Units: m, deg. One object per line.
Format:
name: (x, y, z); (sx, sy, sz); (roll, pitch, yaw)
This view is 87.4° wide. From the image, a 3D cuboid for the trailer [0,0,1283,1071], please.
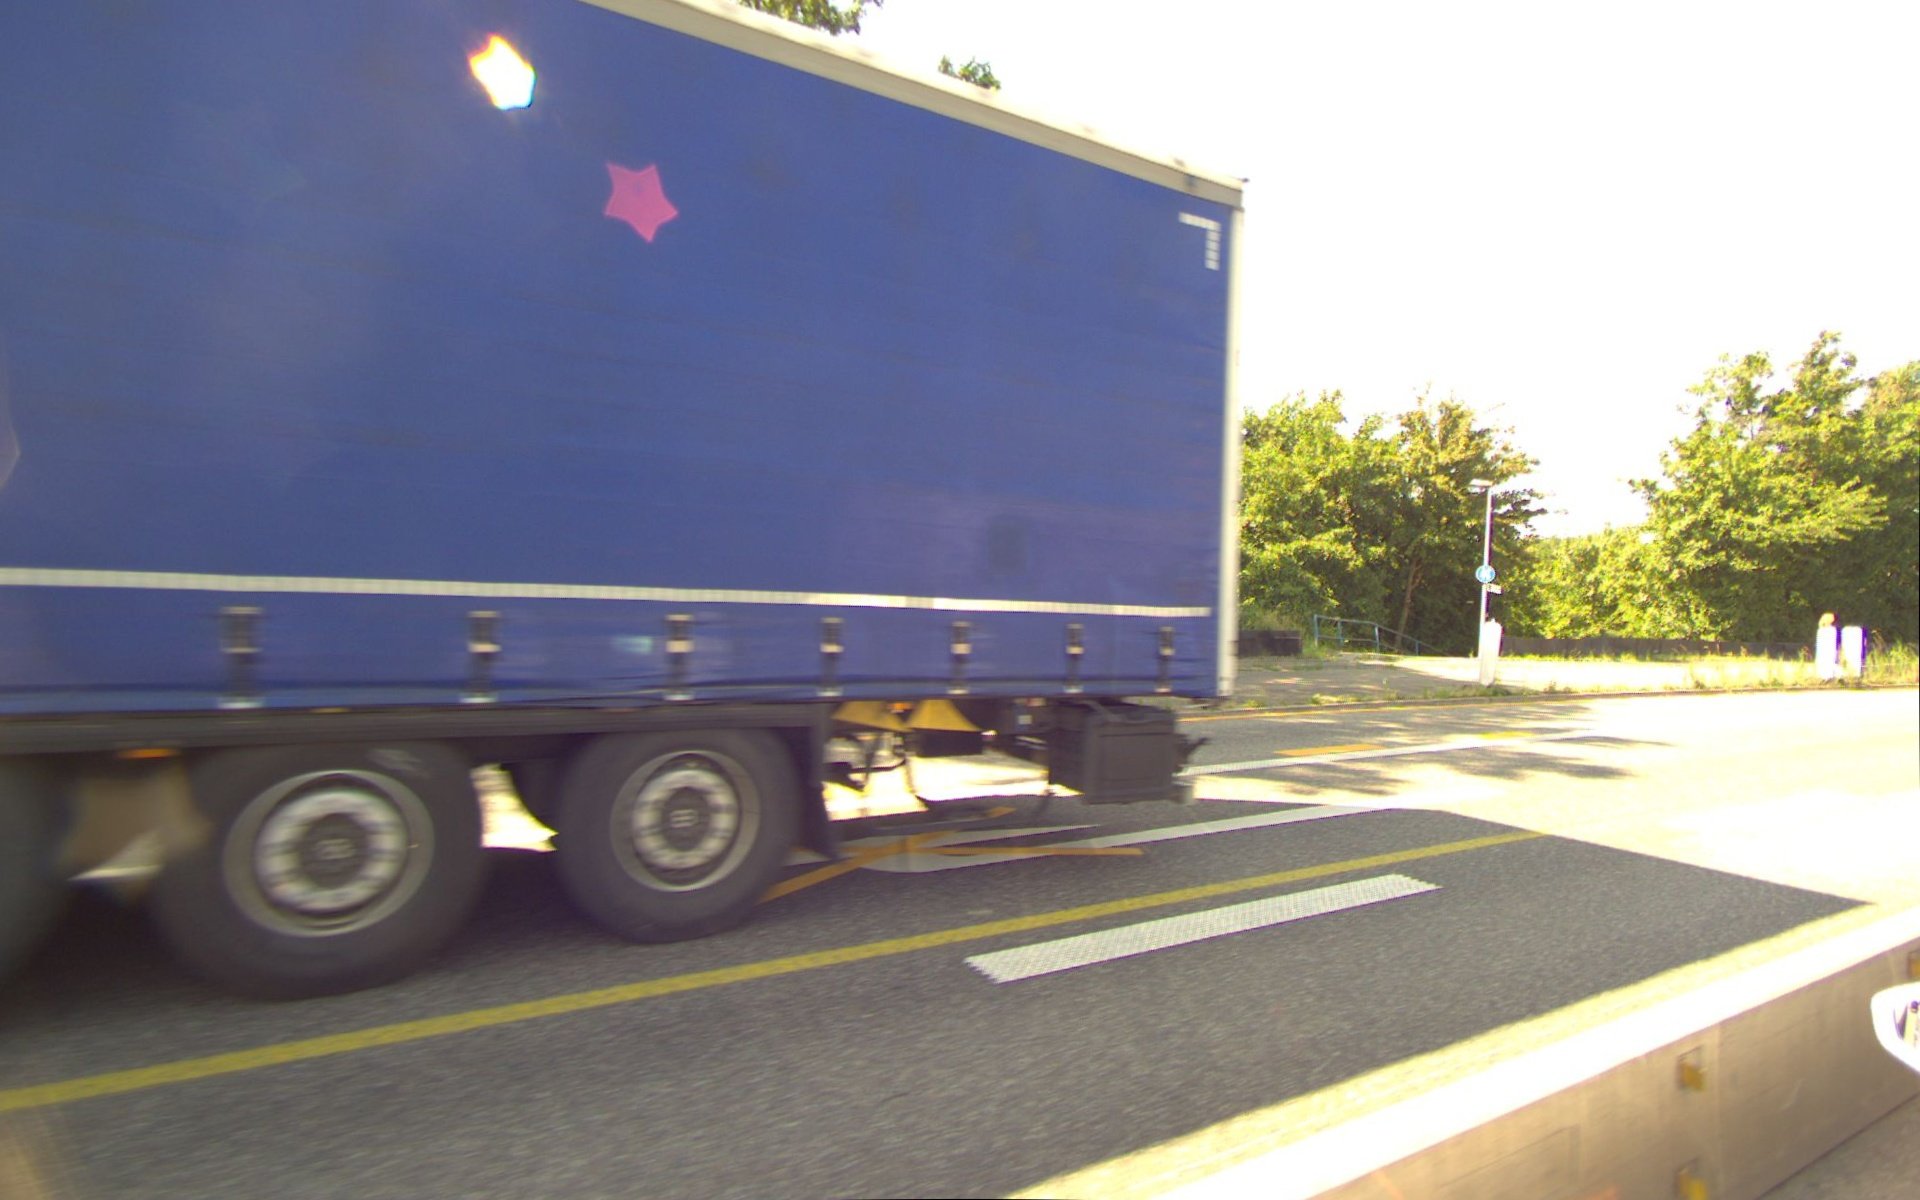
trailer: (-4.794, -0.700, 3.450); (13.903, 4.182, 2.607); (2, 0, -30)
